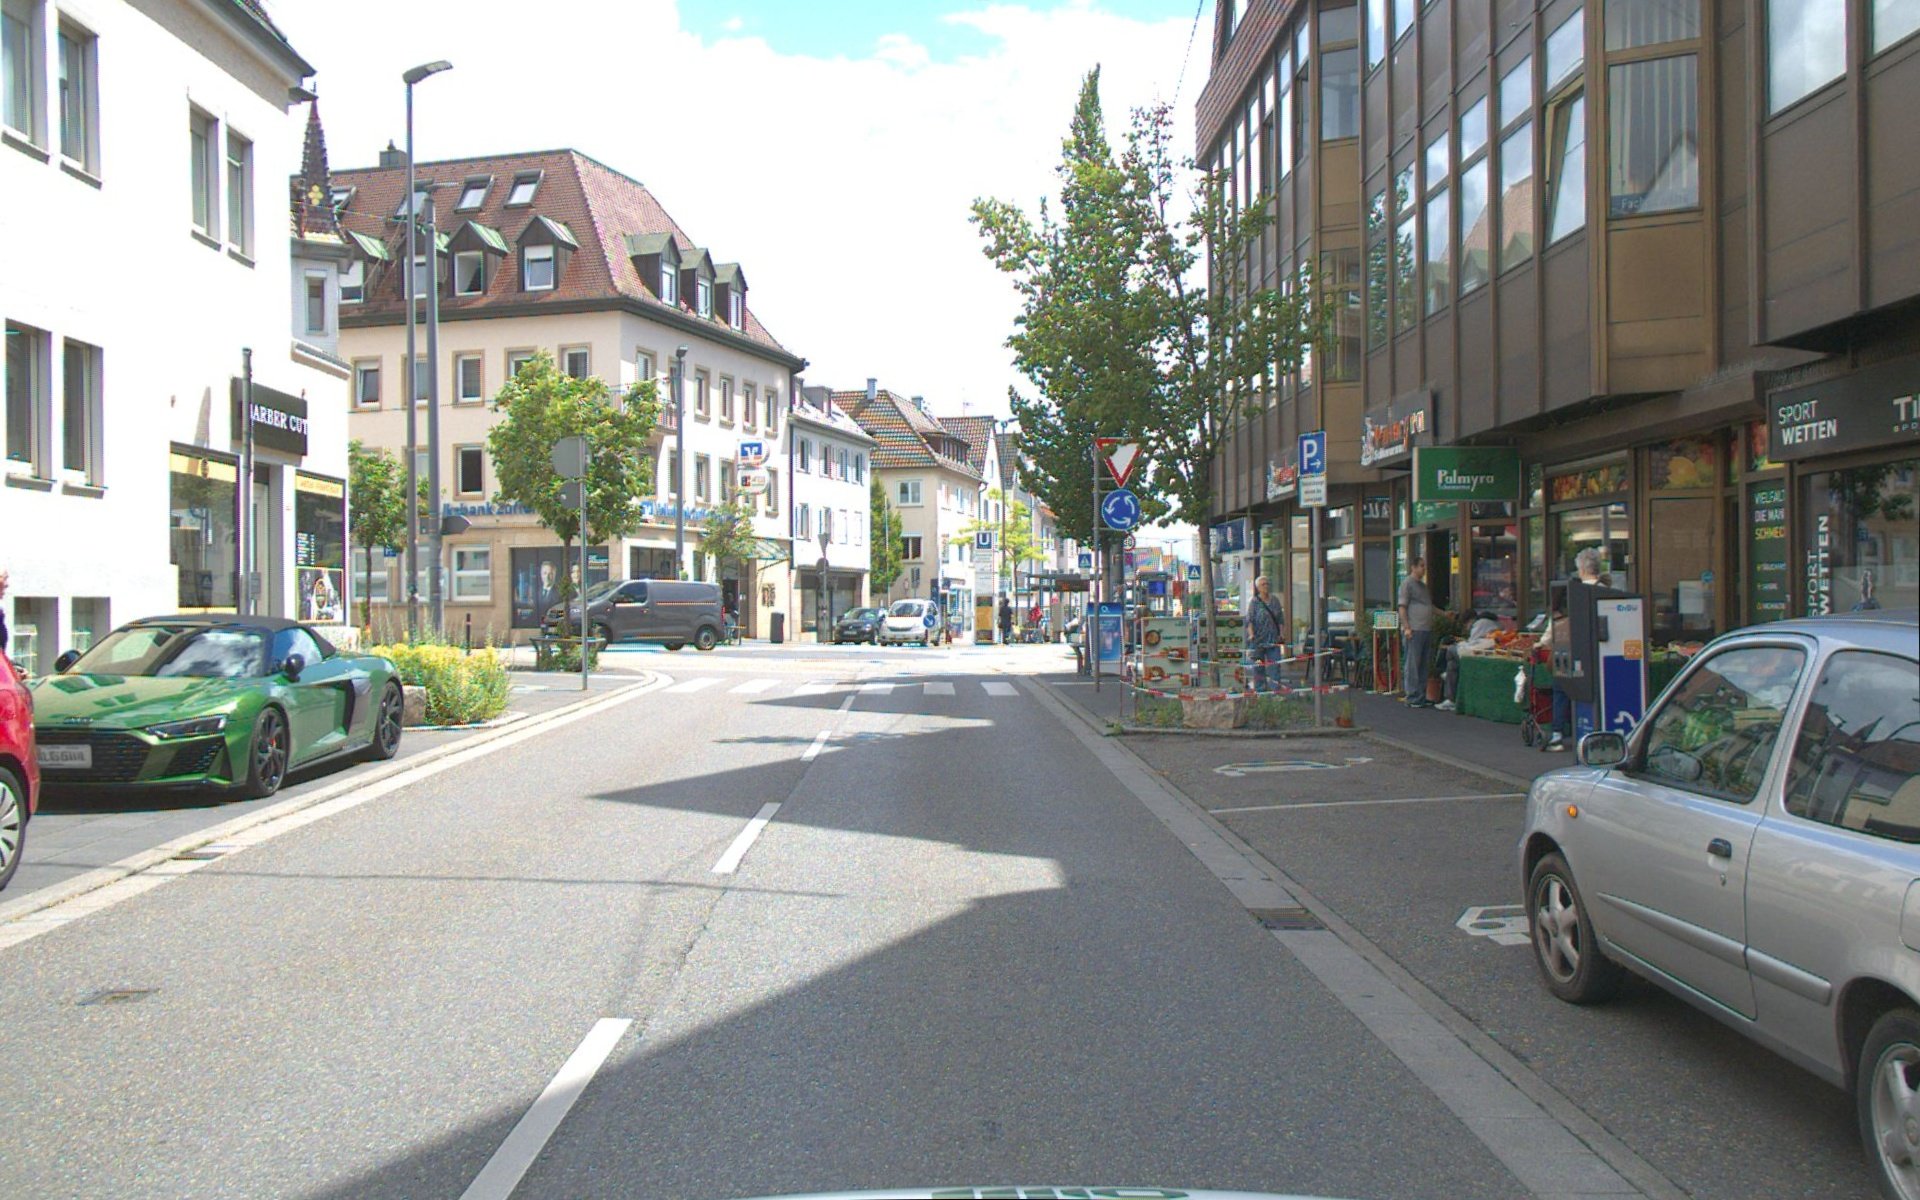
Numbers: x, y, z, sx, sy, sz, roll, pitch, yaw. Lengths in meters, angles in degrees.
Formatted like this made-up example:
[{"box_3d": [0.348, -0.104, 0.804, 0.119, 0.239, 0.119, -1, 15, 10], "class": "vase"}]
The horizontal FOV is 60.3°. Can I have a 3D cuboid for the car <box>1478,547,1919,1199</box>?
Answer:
[{"box_3d": [2.978, 0.617, 4.979, 1.577, 1.521, 3.795, -4, 0, 0], "class": "car"}]

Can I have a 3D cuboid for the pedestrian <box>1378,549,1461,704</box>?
[{"box_3d": [5.649, 0.326, 20.376, 0.722, 1.846, 0.711, -3, -1, -1], "class": "pedestrian"}]

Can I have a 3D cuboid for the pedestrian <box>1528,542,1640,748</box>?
[{"box_3d": [5.427, 0.383, 14.390, 0.647, 1.736, 0.642, 1, -1, -24], "class": "pedestrian"}]

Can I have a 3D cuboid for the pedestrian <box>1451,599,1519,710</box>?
[{"box_3d": [6.122, 0.628, 19.316, 0.608, 1.275, 0.613, 1, -1, 2], "class": "pedestrian"}]

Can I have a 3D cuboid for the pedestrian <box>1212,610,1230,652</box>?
[{"box_3d": [10.651, 1.263, 67.457, 0.608, 1.719, 0.652, 1, -1, -1], "class": "pedestrian"}]

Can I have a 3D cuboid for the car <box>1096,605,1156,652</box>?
[{"box_3d": [5.790, 0.984, 57.353, 1.661, 1.557, 3.474, 1, -1, 13], "class": "car"}]

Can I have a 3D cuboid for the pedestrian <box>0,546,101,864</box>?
[{"box_3d": [-5.300, 0.552, 9.122, 0.672, 1.677, 0.779, 1, -1, 1], "class": "pedestrian"}]

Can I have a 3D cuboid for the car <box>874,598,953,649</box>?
[{"box_3d": [-1.625, 0.840, 59.326, 1.951, 1.719, 4.003, 1, -1, 11], "class": "car"}]

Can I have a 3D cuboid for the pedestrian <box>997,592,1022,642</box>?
[{"box_3d": [1.740, 0.602, 57.717, 0.851, 1.738, 0.531, 1, -1, 2], "class": "pedestrian"}]

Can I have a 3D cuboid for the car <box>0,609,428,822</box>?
[{"box_3d": [-5.658, 0.737, 12.620, 1.782, 1.245, 4.522, 2, 0, -1], "class": "car"}]

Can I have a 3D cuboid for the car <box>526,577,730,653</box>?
[{"box_3d": [-8.724, 0.413, 43.699, 4.950, 1.881, 2.019, 1, -1, -39], "class": "car"}]

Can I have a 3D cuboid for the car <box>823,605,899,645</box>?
[{"box_3d": [-3.797, 0.966, 64.070, 1.951, 1.478, 4.003, 1, -1, 12], "class": "car"}]

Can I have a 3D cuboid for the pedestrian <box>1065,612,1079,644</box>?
[{"box_3d": [4.766, 1.202, 70.582, 0.579, 1.340, 0.591, 1, -1, 5], "class": "pedestrian"}]

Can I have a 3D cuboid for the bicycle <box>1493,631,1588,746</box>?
[{"box_3d": [5.220, 0.782, 14.877, 0.594, 0.996, 0.554, 1, -1, -24], "class": "bicycle"}]

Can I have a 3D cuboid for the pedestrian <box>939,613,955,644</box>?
[{"box_3d": [-0.680, 1.481, 85.935, 0.680, 1.638, 0.642, 1, -1, -11], "class": "pedestrian"}]

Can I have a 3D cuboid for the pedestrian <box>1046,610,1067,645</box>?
[{"box_3d": [4.504, 1.291, 76.964, 0.714, 1.607, 0.747, 0, 0, 31], "class": "pedestrian"}]

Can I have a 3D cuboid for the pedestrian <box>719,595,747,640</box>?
[{"box_3d": [-8.082, 0.624, 58.953, 0.613, 1.559, 0.858, 0, -1, 23], "class": "pedestrian"}]

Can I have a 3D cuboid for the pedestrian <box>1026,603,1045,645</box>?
[{"box_3d": [3.218, 1.012, 70.015, 0.712, 1.794, 0.749, 0, 0, 9], "class": "pedestrian"}]

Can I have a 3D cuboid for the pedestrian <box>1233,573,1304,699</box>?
[{"box_3d": [4.121, 0.471, 22.128, 0.768, 1.644, 0.800, 1, -1, -1], "class": "pedestrian"}]

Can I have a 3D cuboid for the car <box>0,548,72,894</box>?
[{"box_3d": [-5.313, 0.588, 6.354, 1.764, 1.632, 4.215, -1, 0, -4], "class": "car"}]
